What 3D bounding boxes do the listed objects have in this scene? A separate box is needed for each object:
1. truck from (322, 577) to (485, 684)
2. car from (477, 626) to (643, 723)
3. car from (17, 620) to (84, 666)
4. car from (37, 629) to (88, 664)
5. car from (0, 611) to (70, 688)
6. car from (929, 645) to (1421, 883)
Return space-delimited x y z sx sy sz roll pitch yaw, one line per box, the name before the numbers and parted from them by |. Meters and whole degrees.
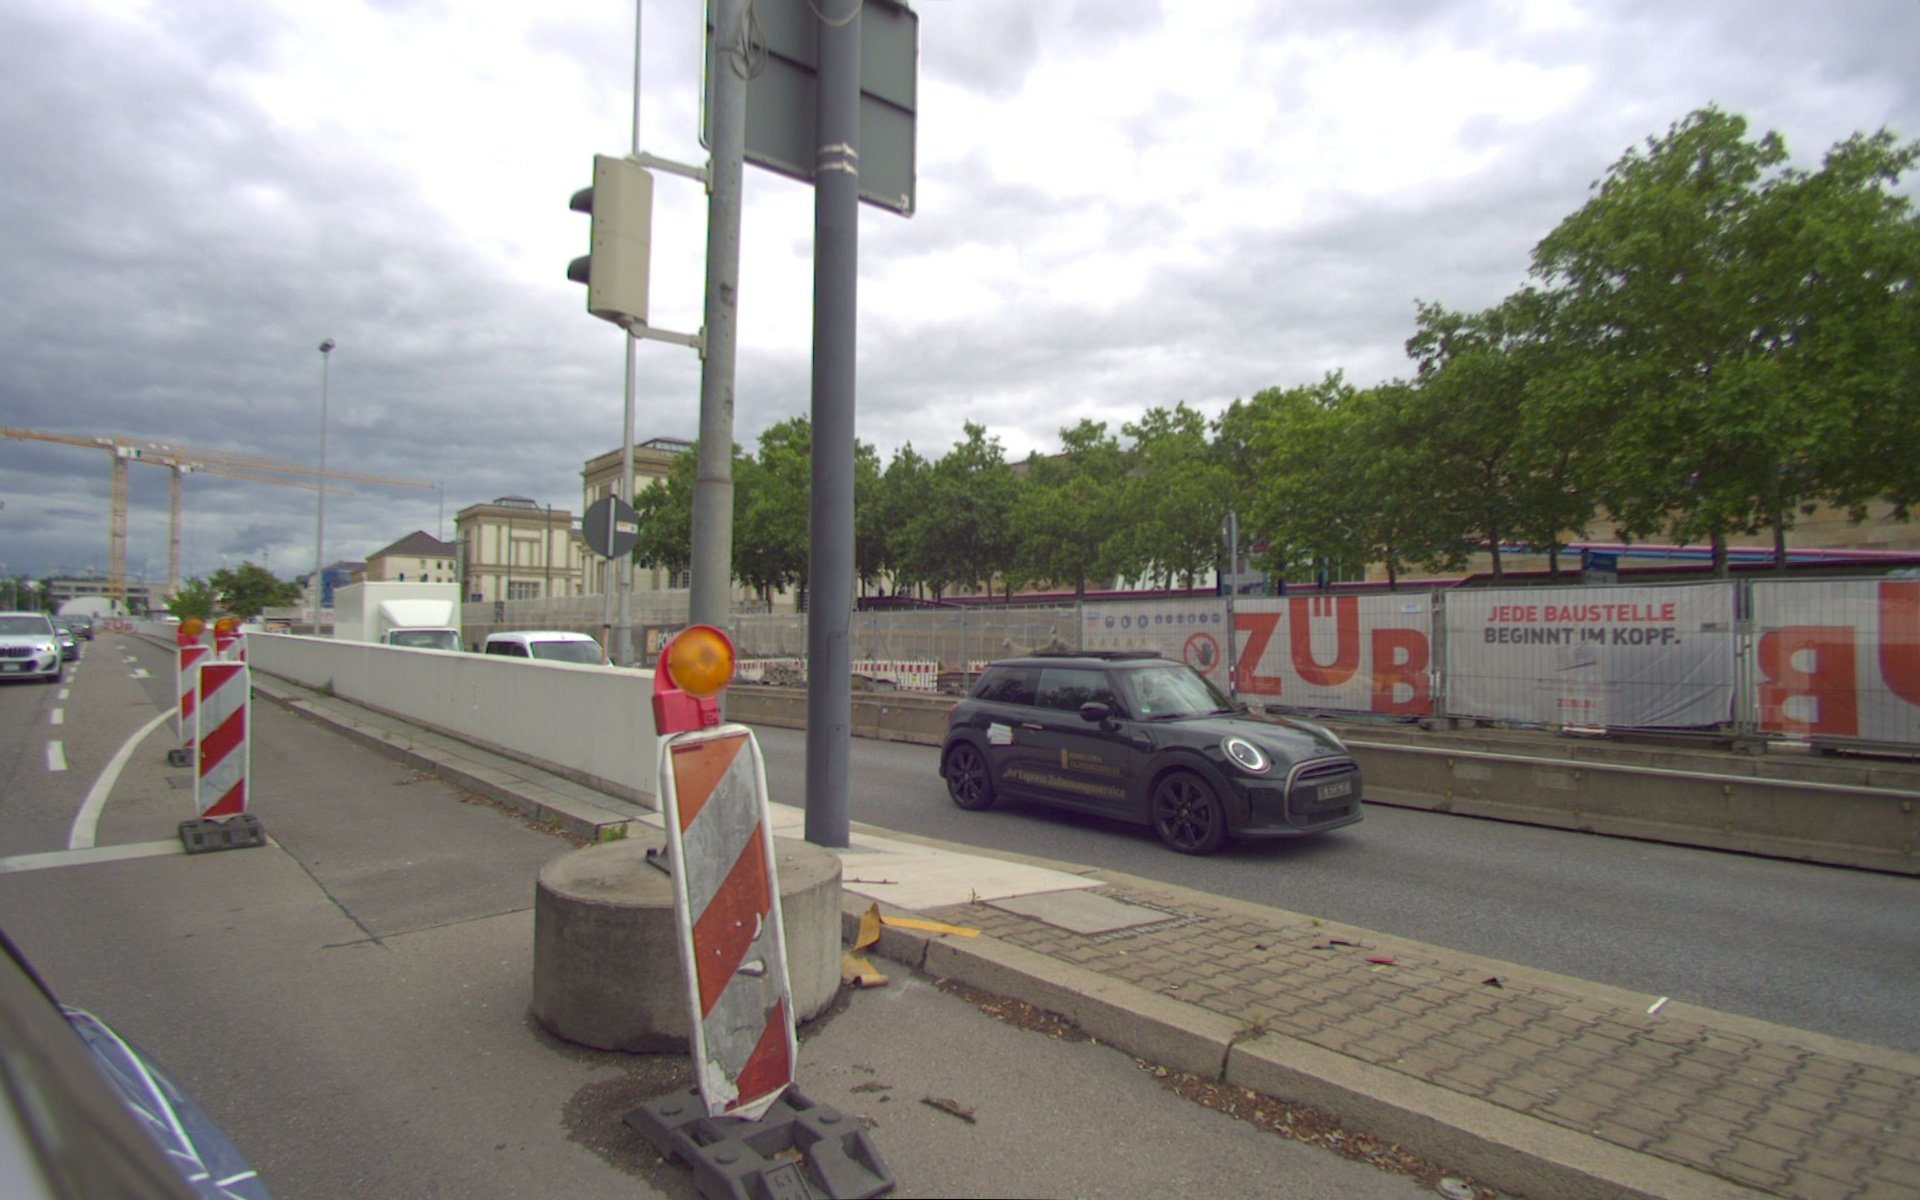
truck | -16.796 0.915 30.257 2.933 2.795 7.268 3 -3 -39
car | -8.413 1.456 21.053 1.815 1.774 4.487 3 -3 -41
car | -31.034 1.421 34.570 1.588 1.484 3.627 2 -2 -42
car | -39.504 2.014 44.570 1.588 1.484 3.627 2 -2 -42
car | -21.989 1.081 23.520 1.828 1.640 4.914 1 -1 -40
car | 1.605 1.163 8.654 1.627 1.450 3.941 1 -1 -41
